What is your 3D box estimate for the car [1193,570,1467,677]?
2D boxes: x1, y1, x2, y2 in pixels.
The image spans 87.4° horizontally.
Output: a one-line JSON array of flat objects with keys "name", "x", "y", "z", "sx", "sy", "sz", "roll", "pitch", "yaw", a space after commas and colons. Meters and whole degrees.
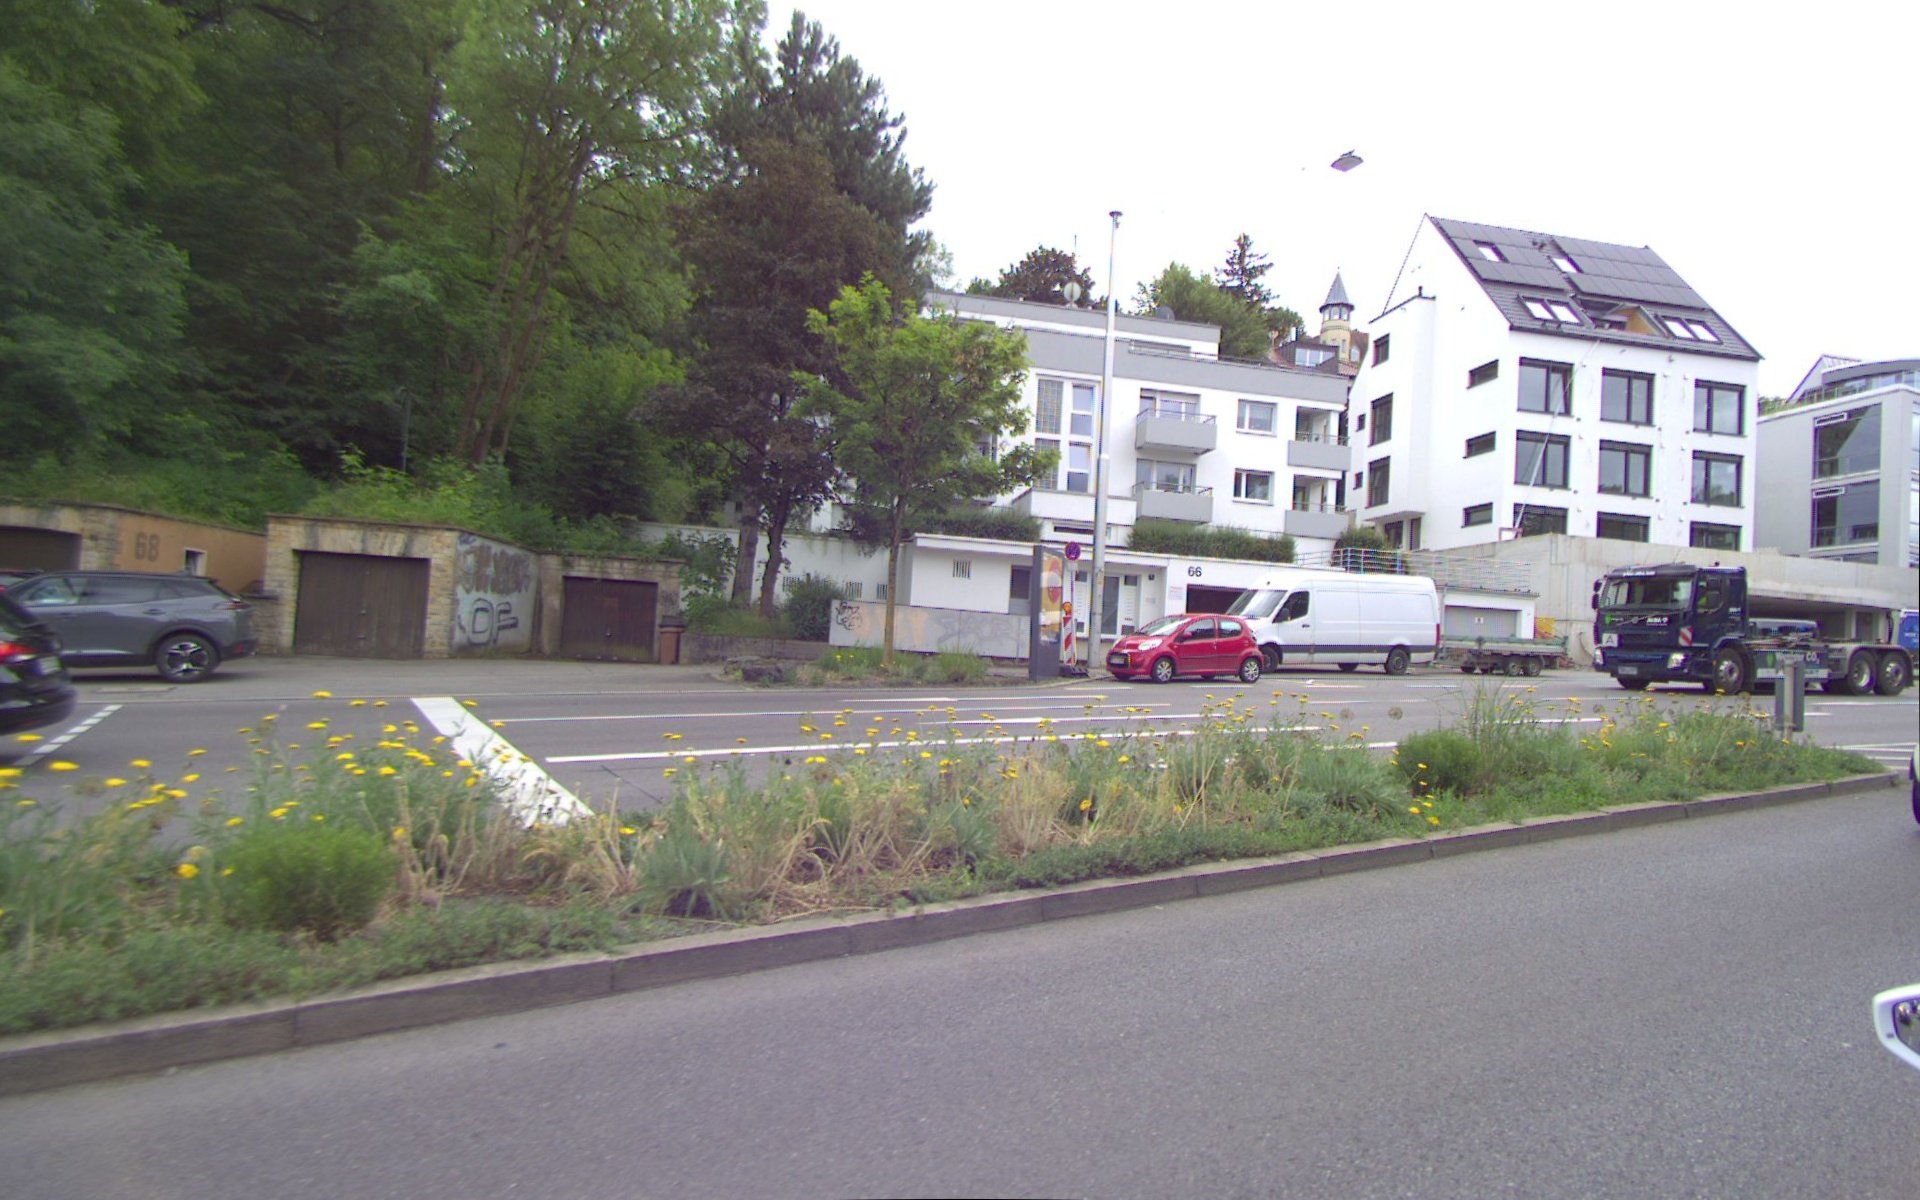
[{"name": "car", "x": 9.929, "y": 0.632, "z": 26.786, "sx": 7.315, "sy": 2.602, "sz": 2.226, "roll": 1, "pitch": 0, "yaw": -23}]

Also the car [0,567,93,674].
[{"name": "car", "x": -15.618, "y": 0.282, "z": 16.246, "sx": 2.662, "sy": 1.540, "sz": 1.561, "roll": 4, "pitch": 1, "yaw": 29}]

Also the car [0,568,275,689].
[{"name": "car", "x": -12.142, "y": 0.382, "z": 14.117, "sx": 4.089, "sy": 1.560, "sz": 1.584, "roll": 1, "pitch": 0, "yaw": -34}]

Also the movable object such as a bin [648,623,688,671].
[{"name": "movable object such as a bin", "x": -6.718, "y": 1.075, "z": 23.131, "sx": 0.716, "sy": 1.025, "sz": 0.641, "roll": 2, "pitch": 1, "yaw": -2}]

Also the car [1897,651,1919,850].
[{"name": "car", "x": 8.714, "y": 1.096, "z": 7.374, "sx": 3.520, "sy": 1.412, "sz": 1.622, "roll": 1, "pitch": -1, "yaw": -27}]

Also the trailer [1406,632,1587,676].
[{"name": "trailer", "x": 15.465, "y": 1.518, "z": 28.972, "sx": 4.556, "sy": 1.127, "sz": 2.241, "roll": 1, "pitch": 0, "yaw": -23}]

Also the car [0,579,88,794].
[{"name": "car", "x": -9.080, "y": 0.564, "z": 6.815, "sx": 4.502, "sy": 1.521, "sz": 1.683, "roll": 1, "pitch": 1, "yaw": -30}]

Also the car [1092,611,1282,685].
[{"name": "car", "x": 4.935, "y": 1.006, "z": 21.783, "sx": 3.875, "sy": 1.485, "sz": 1.616, "roll": 1, "pitch": 0, "yaw": -27}]

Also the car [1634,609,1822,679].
[{"name": "car", "x": 23.424, "y": 1.311, "z": 30.642, "sx": 5.135, "sy": 1.993, "sz": 1.981, "roll": 1, "pitch": 0, "yaw": -18}]

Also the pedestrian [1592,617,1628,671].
[{"name": "pedestrian", "x": 20.724, "y": 1.398, "z": 32.022, "sx": 0.660, "sy": 1.662, "sz": 0.627, "roll": 1, "pitch": 2, "yaw": -8}]

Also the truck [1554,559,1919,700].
[{"name": "truck", "x": 18.996, "y": 0.685, "z": 24.393, "sx": 8.843, "sy": 3.011, "sz": 2.956, "roll": 1, "pitch": 1, "yaw": -21}]
